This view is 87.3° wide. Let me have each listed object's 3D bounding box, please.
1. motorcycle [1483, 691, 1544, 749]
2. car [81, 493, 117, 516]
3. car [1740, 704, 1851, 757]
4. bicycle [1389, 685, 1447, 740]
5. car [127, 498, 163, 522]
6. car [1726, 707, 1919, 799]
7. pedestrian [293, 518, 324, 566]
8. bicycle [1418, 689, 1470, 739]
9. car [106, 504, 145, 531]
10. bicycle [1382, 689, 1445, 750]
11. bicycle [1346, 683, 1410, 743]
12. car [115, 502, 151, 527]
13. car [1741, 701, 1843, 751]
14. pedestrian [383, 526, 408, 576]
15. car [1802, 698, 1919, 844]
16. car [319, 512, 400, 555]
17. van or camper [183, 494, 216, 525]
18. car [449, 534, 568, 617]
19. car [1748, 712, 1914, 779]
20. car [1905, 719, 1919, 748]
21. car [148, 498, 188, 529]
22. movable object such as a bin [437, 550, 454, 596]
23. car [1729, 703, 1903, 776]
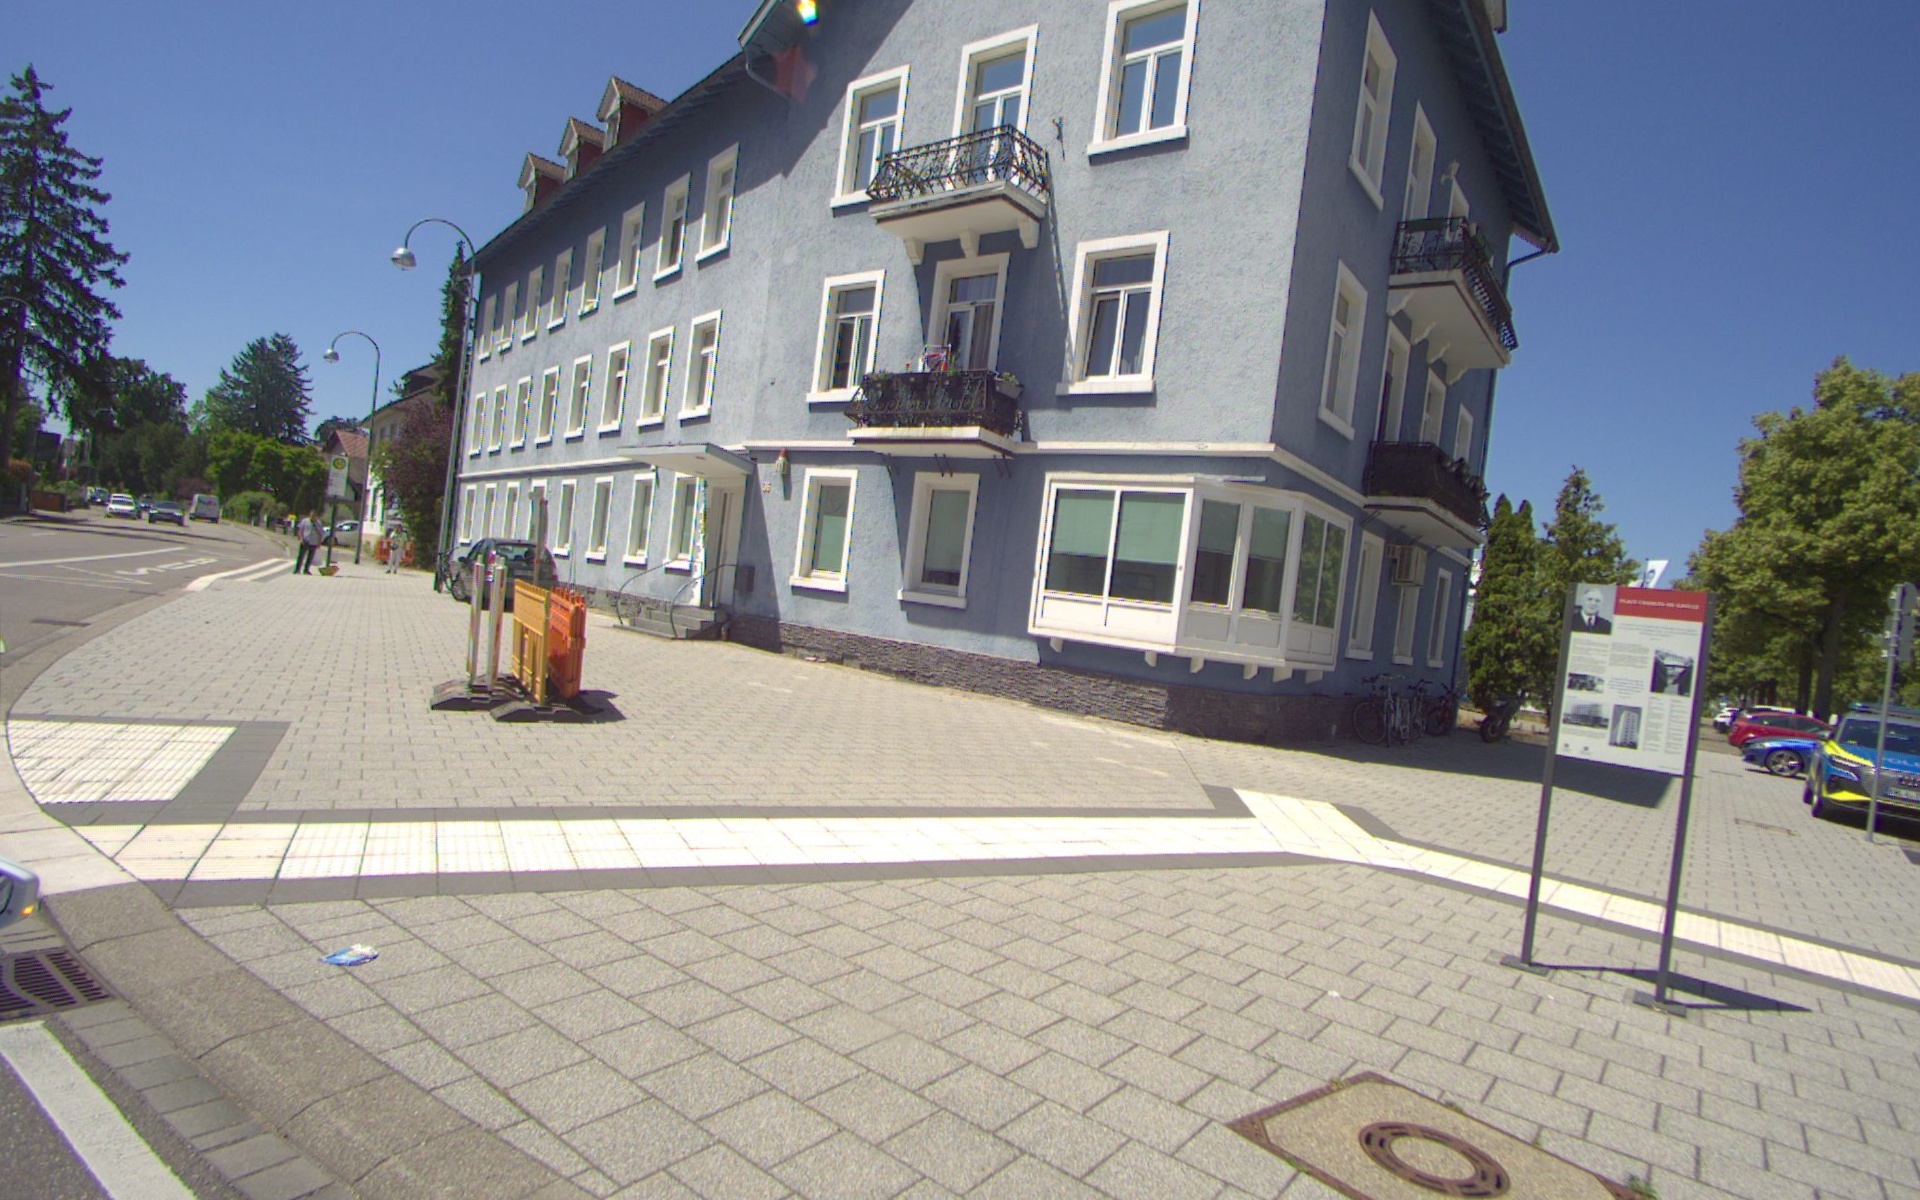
[{"bbox_3d":[11.525,2.509,20.921,0.579,1.065,1.897,10,1,41],"label":"motorcycle"},{"bbox_3d":[-94.758,-10.531,110.703,3.936,2.038,1.995,7,0,35],"label":"car"},{"bbox_3d":[40.720,6.368,49.144,3.941,1.881,1.994,7,-2,39],"label":"car"},{"bbox_3d":[8.749,2.150,19.179,0.474,0.918,1.706,10,1,39],"label":"bicycle"},{"bbox_3d":[-86.028,-9.479,106.187,3.940,2.038,1.993,7,0,38],"label":"car"},{"bbox_3d":[21.155,3.703,23.968,4.399,1.496,1.904,7,-3,35],"label":"car"},{"bbox_3d":[-18.701,-1.676,28.889,0.661,1.303,0.582,3,3,-30],"label":"pedestrian"},{"bbox_3d":[10.023,2.355,20.812,0.474,0.918,1.706,10,1,39],"label":"bicycle"},{"bbox_3d":[-61.627,-6.091,74.374,1.985,1.671,3.957,8,-1,-38],"label":"car"},{"bbox_3d":[7.638,2.010,16.918,0.433,0.918,1.706,10,1,39],"label":"bicycle"},{"bbox_3d":[7.195,1.944,17.268,0.433,0.918,1.706,10,1,39],"label":"bicycle"},{"bbox_3d":[-65.145,-6.730,79.298,1.985,1.671,3.957,8,-1,-38],"label":"car"},{"bbox_3d":[44.412,6.676,53.807,3.940,1.884,1.991,7,2,38],"label":"car"},{"bbox_3d":[-19.009,-1.660,33.864,0.661,1.616,0.582,3,3,-30],"label":"pedestrian"},{"bbox_3d":[14.037,2.544,15.042,1.878,1.764,4.234,9,0,39],"label":"car"},{"bbox_3d":[-38.222,-4.221,64.081,3.976,2.038,1.975,8,0,-44],"label":"car"},{"bbox_3d":[-73.428,-8.705,97.094,2.196,2.642,3.956,7,0,-39],"label":"van or camper"},{"bbox_3d":[-10.128,-0.592,22.436,1.629,1.528,3.526,3,3,-37],"label":"car"},{"bbox_3d":[28.981,4.811,33.656,3.940,1.464,1.993,7,0,38],"label":"car"},{"bbox_3d":[74.249,10.325,74.917,5.192,2.038,2.230,7,0,36],"label":"car"},{"bbox_3d":[-55.015,-6.016,69.966,1.984,1.737,3.958,8,-1,-38],"label":"car"},{"bbox_3d":[-13.172,-0.703,25.742,0.280,1.138,1.177,5,1,-26],"label":"movable object such as a bin"},{"bbox_3d":[27.016,4.369,31.948,3.940,1.548,1.993,7,0,38],"label":"car"}]
